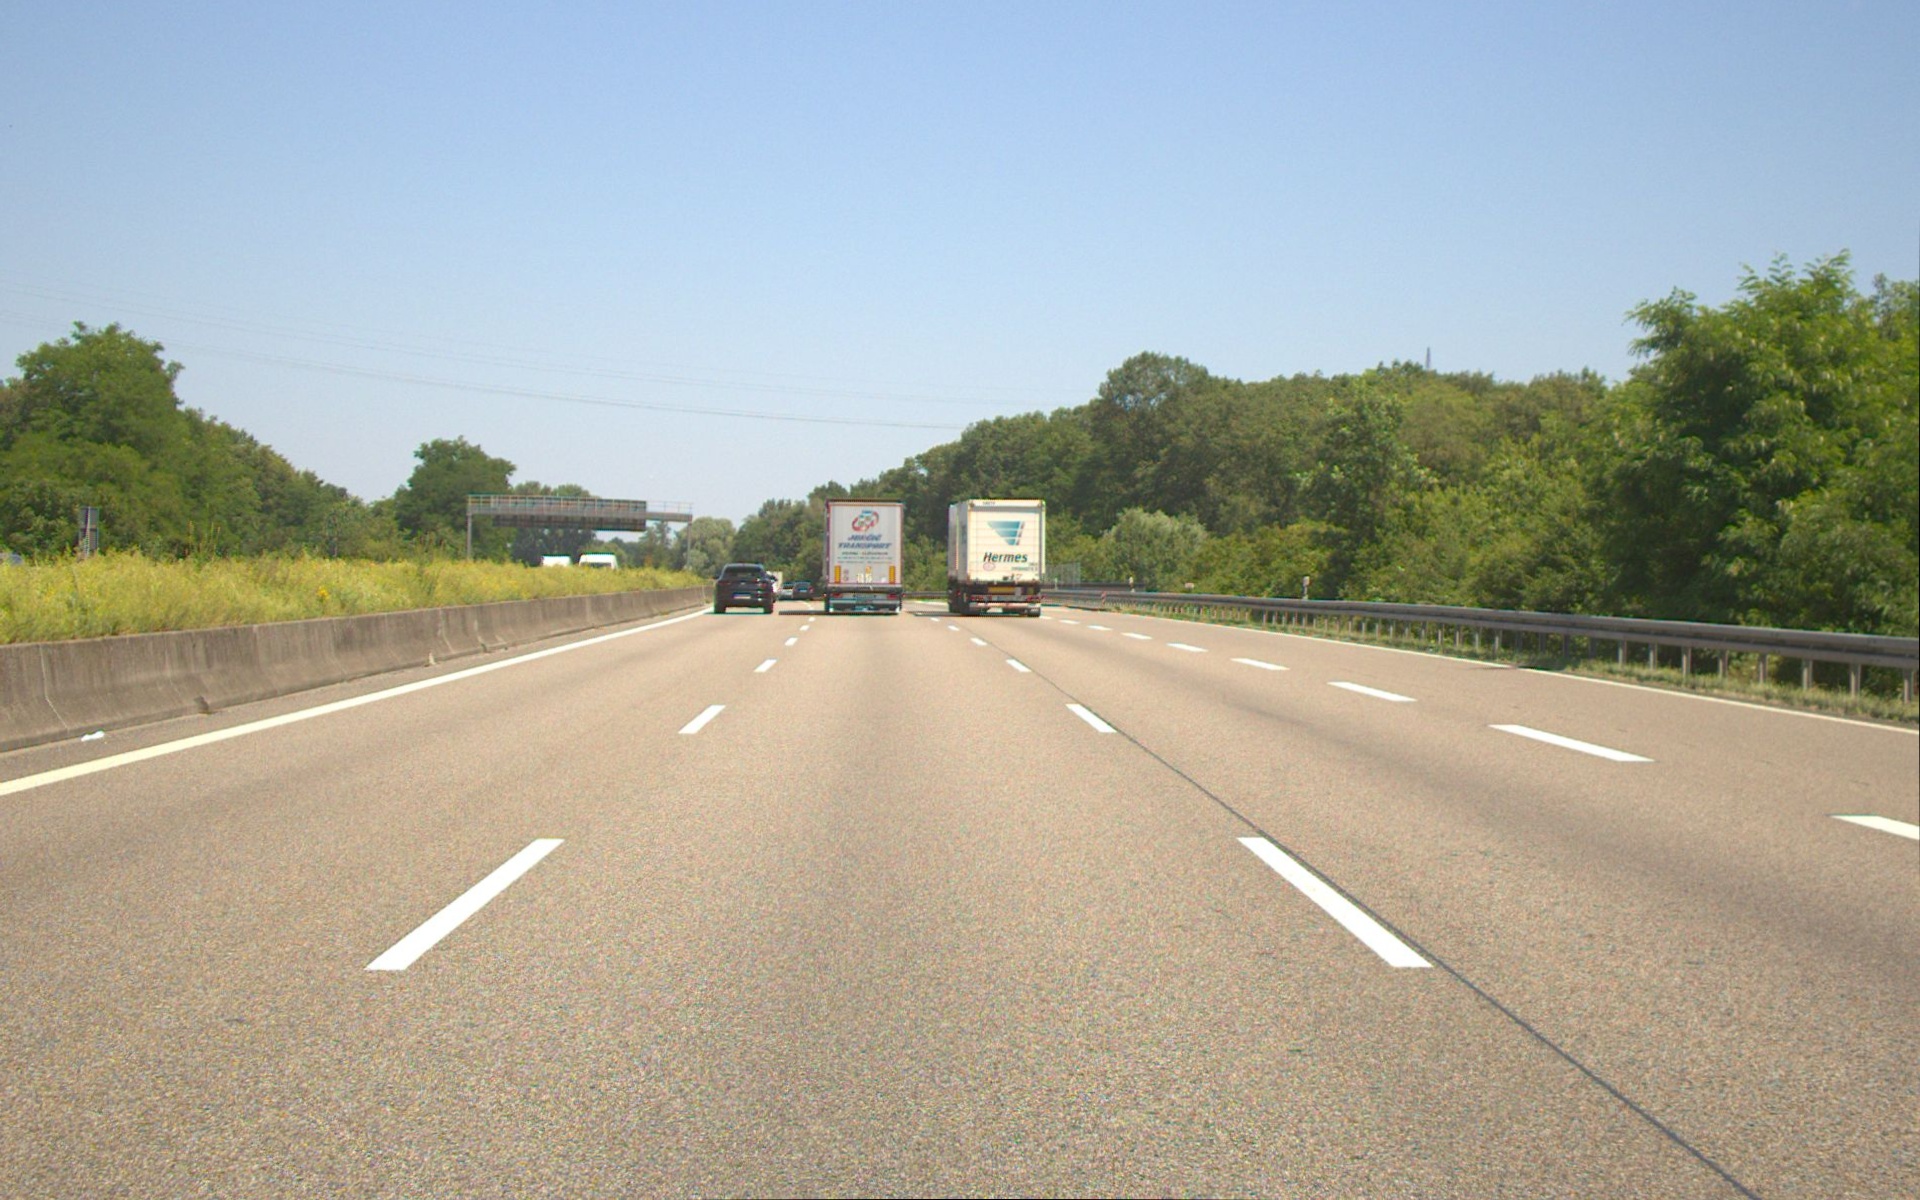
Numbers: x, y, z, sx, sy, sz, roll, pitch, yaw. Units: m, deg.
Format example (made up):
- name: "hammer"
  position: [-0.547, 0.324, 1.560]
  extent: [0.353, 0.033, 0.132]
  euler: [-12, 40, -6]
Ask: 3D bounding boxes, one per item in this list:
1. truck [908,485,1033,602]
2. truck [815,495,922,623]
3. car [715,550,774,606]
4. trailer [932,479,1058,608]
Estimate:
- name: "truck"
  position: [0.279, -2.091, 125.013]
  extent: [3.325, 4.039, 10.956]
  euler: [1, 1, -6]
- name: "truck"
  position: [-3.216, -1.446, 118.327]
  extent: [3.229, 4.187, 8.467]
  euler: [1, 1, -4]
- name: "car"
  position: [-7.504, -0.783, 119.842]
  extent: [1.993, 1.868, 4.001]
  euler: [1, 1, -3]
- name: "trailer"
  position: [1.113, -1.943, 116.377]
  extent: [3.367, 4.128, 9.093]
  euler: [1, 1, -5]
